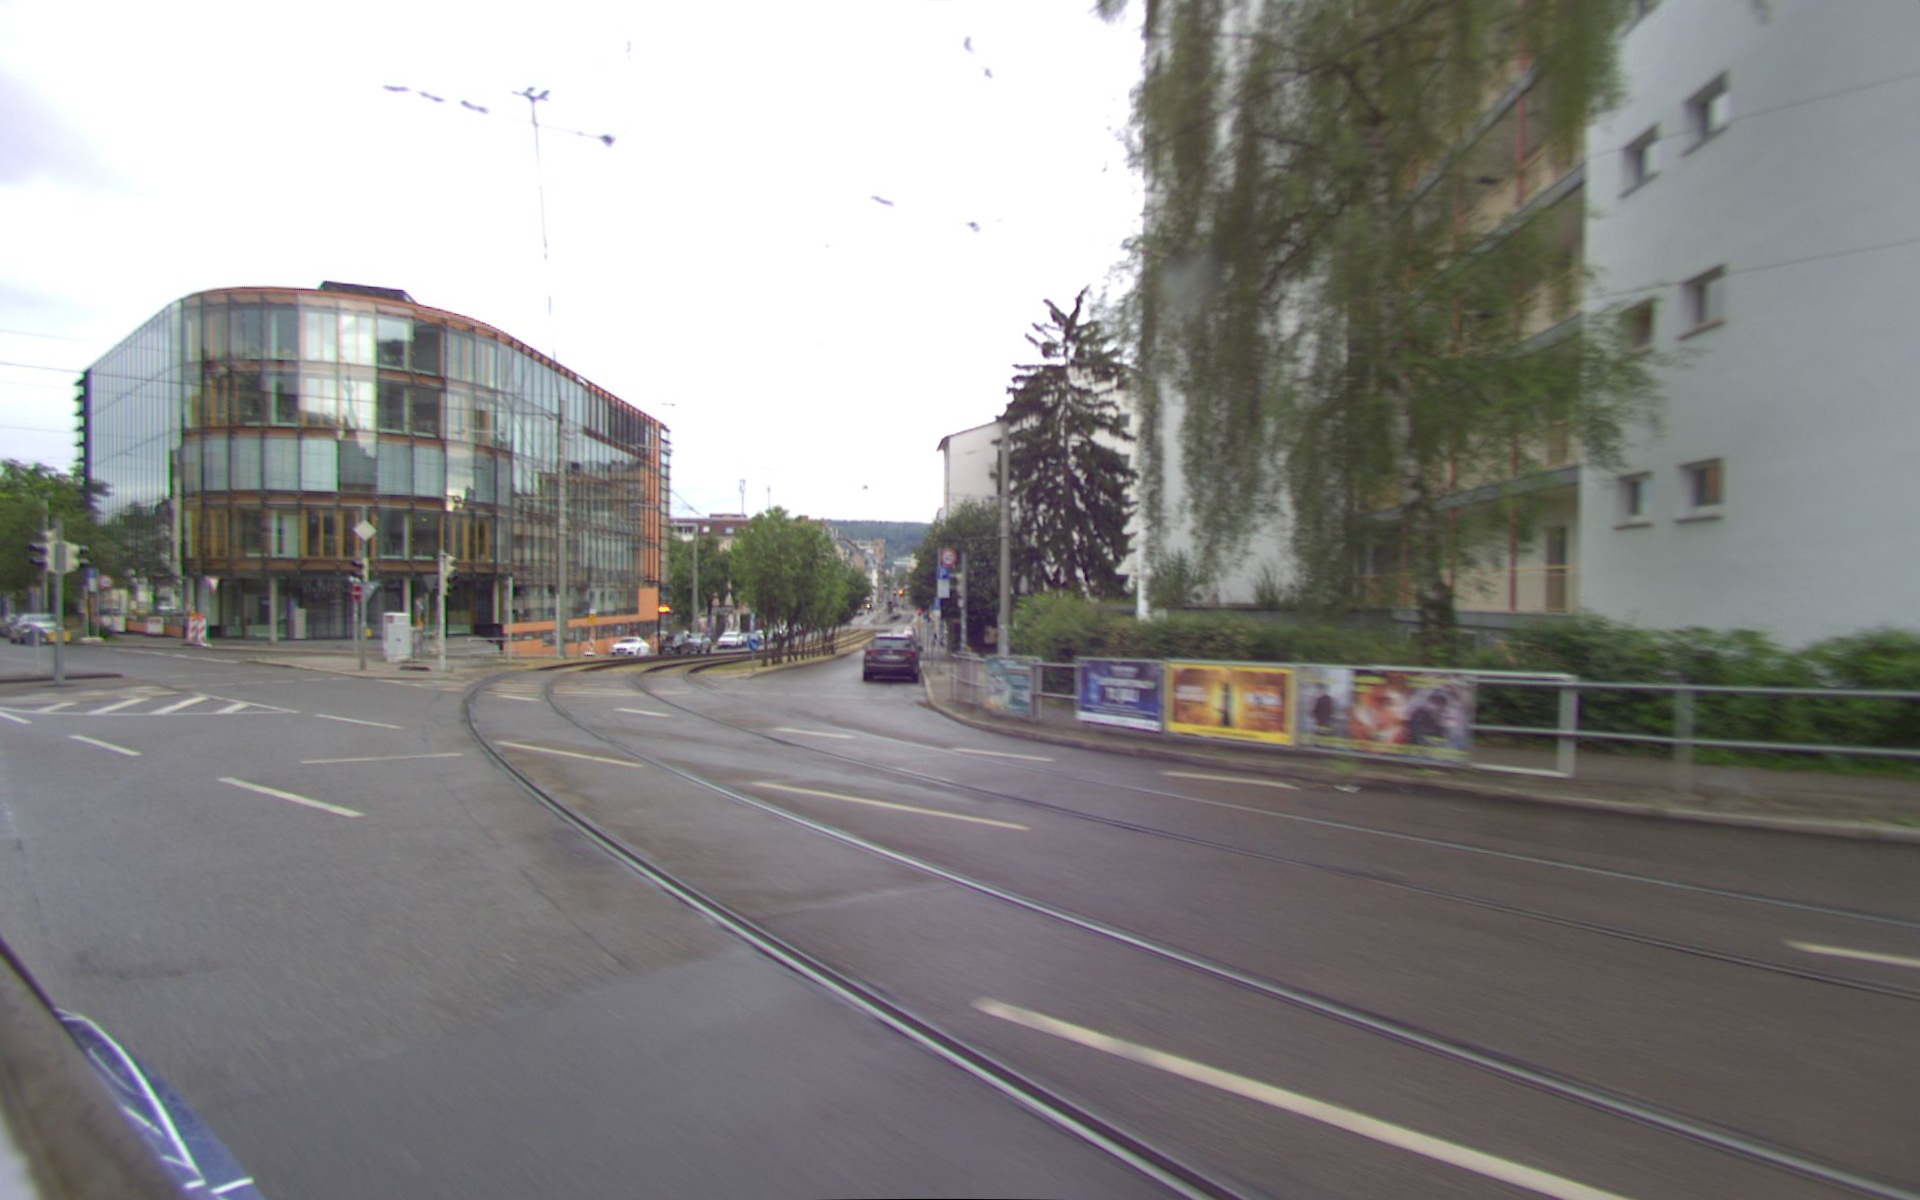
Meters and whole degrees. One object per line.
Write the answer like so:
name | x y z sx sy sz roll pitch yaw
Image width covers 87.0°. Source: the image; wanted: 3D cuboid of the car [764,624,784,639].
car | -23.144 3.869 126.016 1.891 1.763 4.000 0 -1 0

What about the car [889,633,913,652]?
car | -5.077 3.679 86.833 1.970 1.519 4.314 -1 -4 -3

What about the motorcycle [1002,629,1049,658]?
motorcycle | 2.372 1.548 36.108 0.895 0.947 2.216 1 -2 26

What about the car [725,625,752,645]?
car | -22.566 3.580 103.370 1.891 1.763 4.001 0 2 0

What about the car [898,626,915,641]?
car | -6.348 4.005 120.555 1.970 1.519 4.704 -1 -4 -3

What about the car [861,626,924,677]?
car | -2.125 1.597 32.360 1.847 1.472 4.495 1 -2 -3

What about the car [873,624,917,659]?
car | -3.072 1.985 47.887 1.970 1.519 4.314 -1 -4 -3

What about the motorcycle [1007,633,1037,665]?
motorcycle | 2.033 1.599 33.395 0.767 0.947 2.236 -2 0 -2

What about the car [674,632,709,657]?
car | -22.403 3.712 84.690 1.891 1.763 4.001 0 2 0

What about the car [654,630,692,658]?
car | -22.450 3.424 79.341 1.891 1.907 4.001 0 2 0

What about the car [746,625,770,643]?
car | -22.833 3.782 114.619 1.891 1.763 4.001 0 2 0

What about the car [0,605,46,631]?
car | -55.791 1.030 59.925 4.323 1.475 1.707 0 -1 37

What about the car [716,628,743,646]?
car | -22.554 3.580 99.181 1.764 1.520 4.001 0 2 0

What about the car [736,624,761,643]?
car | -22.699 3.603 108.879 1.891 1.763 4.001 0 2 0

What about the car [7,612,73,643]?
car | -44.672 1.293 49.106 4.642 1.405 1.839 0 0 40

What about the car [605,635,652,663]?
car | -22.356 3.285 68.410 1.891 1.507 4.001 0 2 0
